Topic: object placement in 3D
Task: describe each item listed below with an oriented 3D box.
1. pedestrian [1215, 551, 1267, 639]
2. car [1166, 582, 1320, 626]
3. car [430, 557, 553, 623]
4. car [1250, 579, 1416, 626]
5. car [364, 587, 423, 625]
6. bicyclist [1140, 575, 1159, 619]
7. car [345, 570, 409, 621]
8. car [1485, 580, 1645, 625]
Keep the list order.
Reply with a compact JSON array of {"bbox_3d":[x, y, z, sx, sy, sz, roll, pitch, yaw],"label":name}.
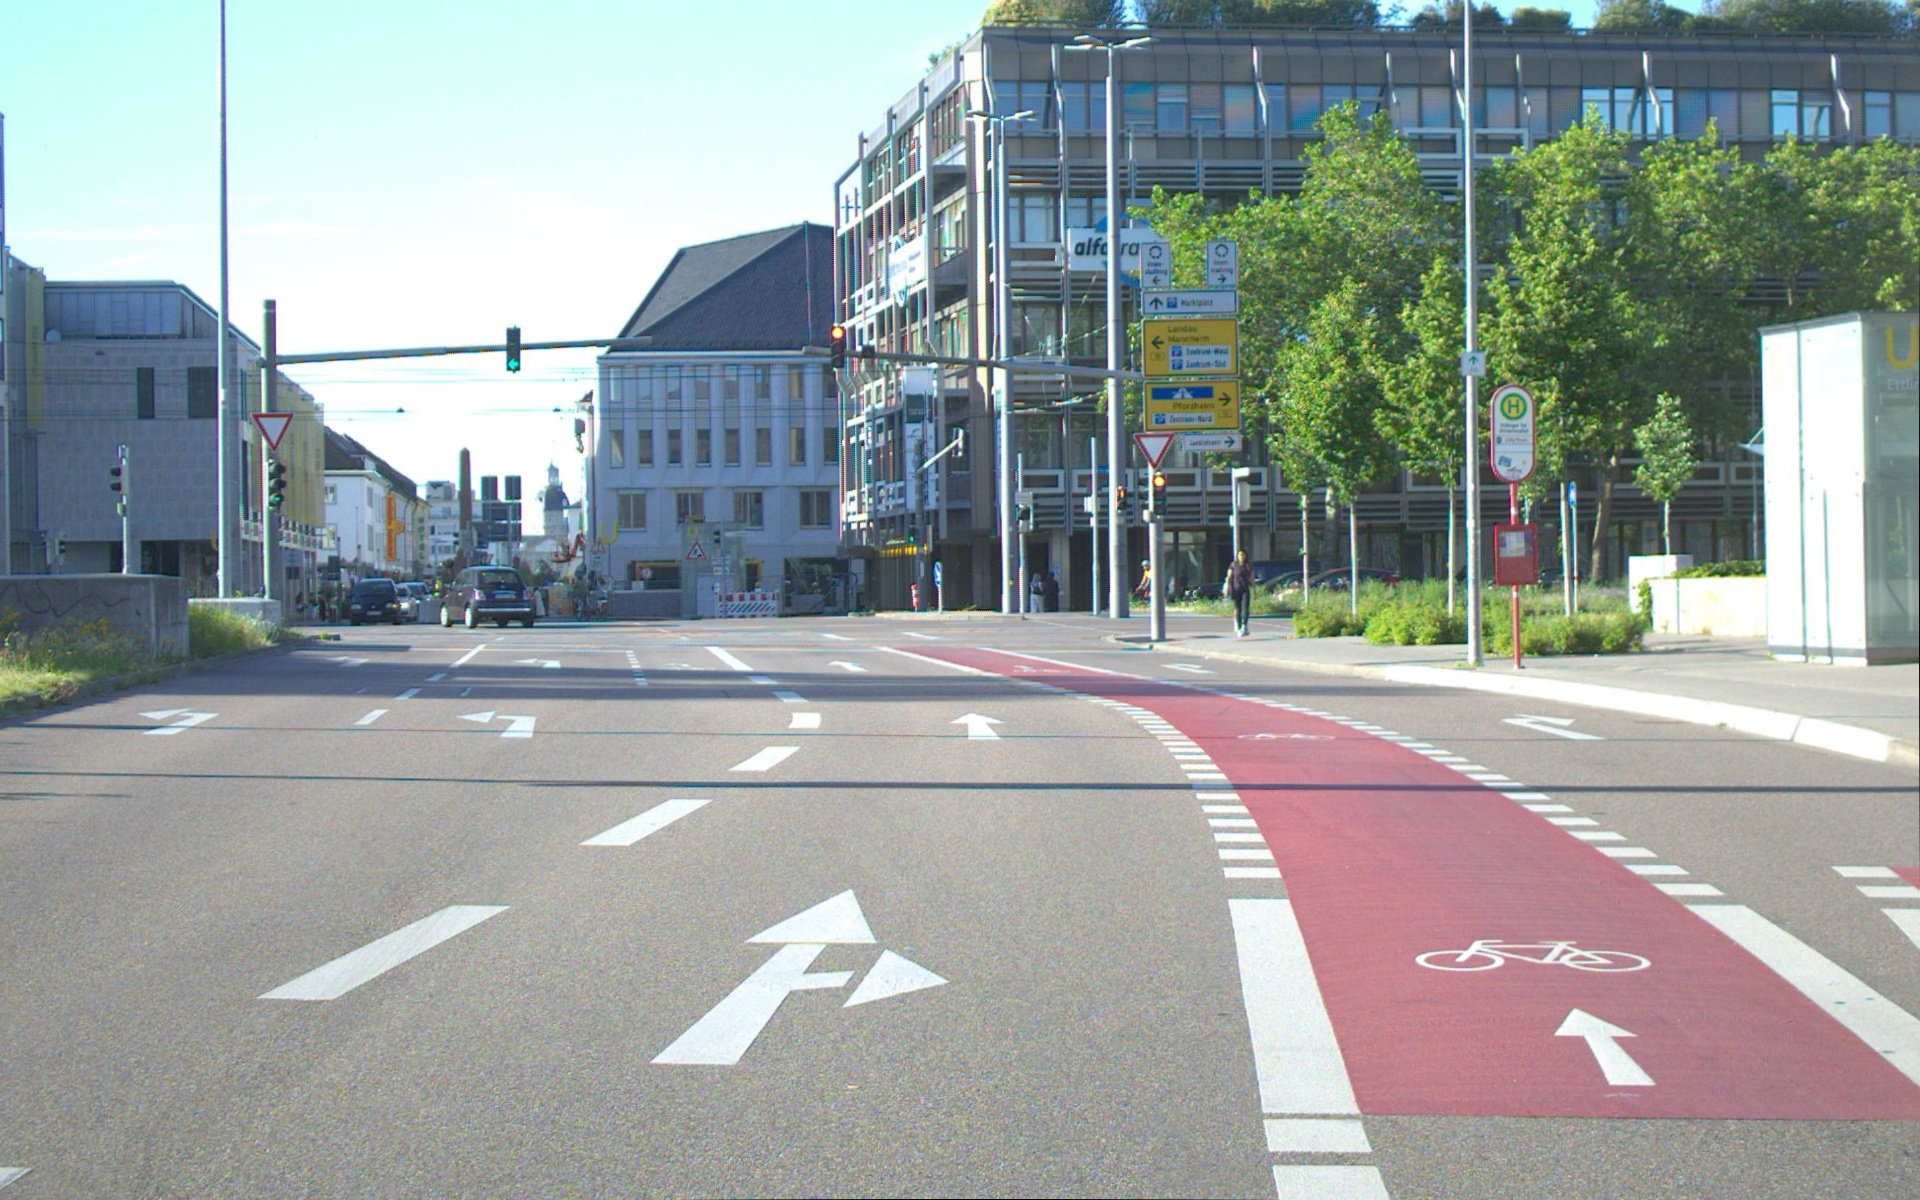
[{"bbox_3d":[5.665,-0.100,69.269,0.822,1.742,1.041,-2,0,16],"label":"pedestrian"},{"bbox_3d":[9.142,0.123,111.136,4.629,1.351,2.001,0,2,-9],"label":"car"},{"bbox_3d":[-11.530,-0.258,84.408,1.776,1.558,3.790,-1,1,-28],"label":"car"},{"bbox_3d":[11.233,0.069,103.653,4.629,1.351,2.001,0,2,-9],"label":"car"},{"bbox_3d":[-22.311,0.239,135.465,1.993,1.351,4.647,0,2,-6],"label":"car"},{"bbox_3d":[5.738,-0.096,104.135,0.508,1.334,0.452,-1,0,-3],"label":"bicyclist"},{"bbox_3d":[-21.235,-0.174,125.343,1.993,1.736,4.647,0,2,-6],"label":"car"},{"bbox_3d":[19.289,0.085,109.719,4.629,1.351,2.001,0,2,-9],"label":"car"}]
